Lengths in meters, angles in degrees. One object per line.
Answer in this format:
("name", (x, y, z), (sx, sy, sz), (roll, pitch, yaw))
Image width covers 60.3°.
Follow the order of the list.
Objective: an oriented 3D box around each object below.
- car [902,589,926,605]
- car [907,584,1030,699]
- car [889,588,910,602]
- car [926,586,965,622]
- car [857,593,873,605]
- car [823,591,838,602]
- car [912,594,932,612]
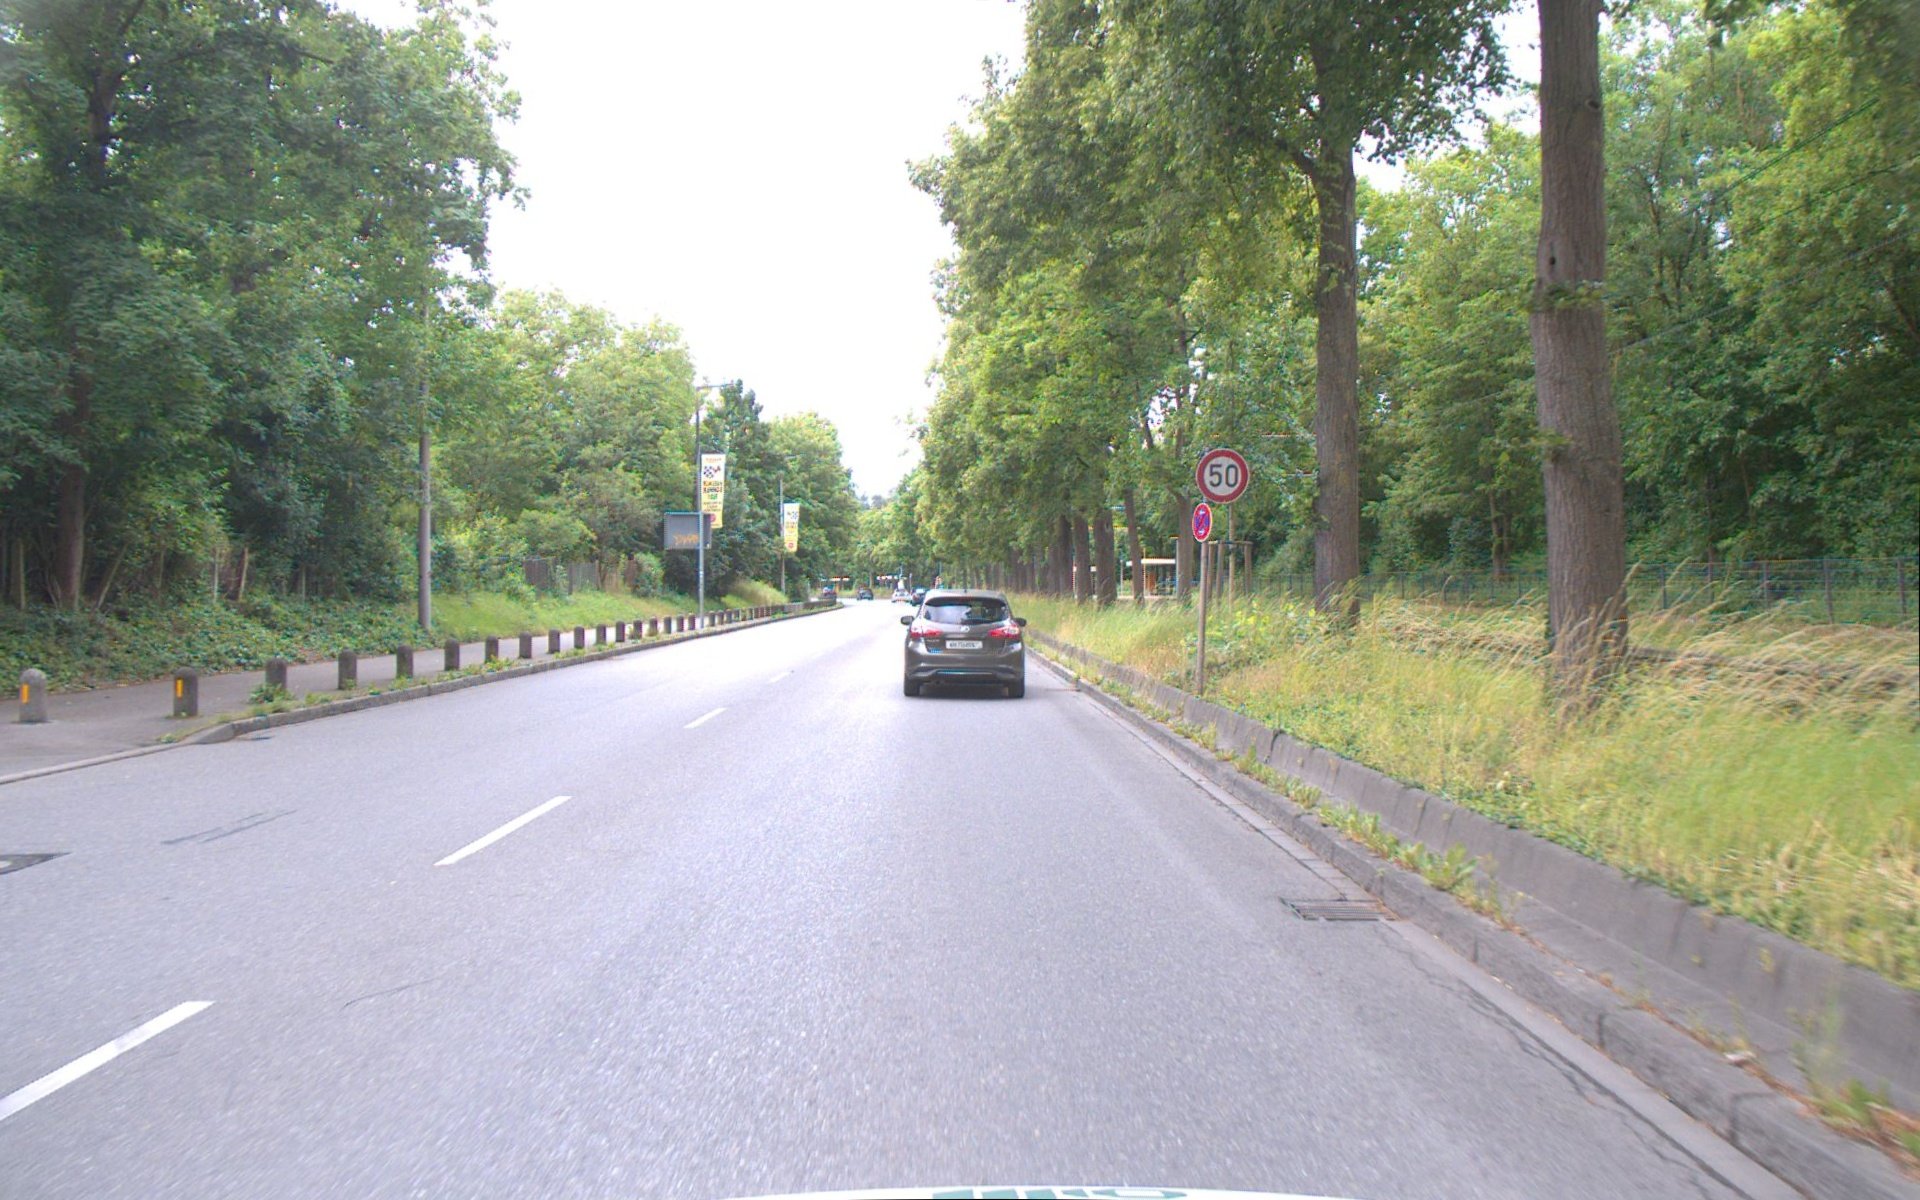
("car", (-4.277, -0.271, 153.063), (1.534, 1.466, 3.541), (1, 0, -12))
("car", (0.068, 0.571, 24.795), (1.695, 1.564, 3.550), (1, 0, -2))
("car", (-6.431, -0.541, 175.631), (1.536, 1.466, 3.537), (1, 0, -15))
("car", (-0.680, 0.163, 74.977), (1.695, 1.564, 3.550), (1, 0, -2))
("car", (-12.077, -0.110, 210.829), (1.533, 1.466, 3.542), (1, 0, -11))
("car", (-19.084, -0.531, 243.571), (1.535, 1.466, 3.539), (1, 0, -13))
("car", (-3.171, 0.238, 136.383), (1.530, 1.466, 3.549), (1, 0, -3))
